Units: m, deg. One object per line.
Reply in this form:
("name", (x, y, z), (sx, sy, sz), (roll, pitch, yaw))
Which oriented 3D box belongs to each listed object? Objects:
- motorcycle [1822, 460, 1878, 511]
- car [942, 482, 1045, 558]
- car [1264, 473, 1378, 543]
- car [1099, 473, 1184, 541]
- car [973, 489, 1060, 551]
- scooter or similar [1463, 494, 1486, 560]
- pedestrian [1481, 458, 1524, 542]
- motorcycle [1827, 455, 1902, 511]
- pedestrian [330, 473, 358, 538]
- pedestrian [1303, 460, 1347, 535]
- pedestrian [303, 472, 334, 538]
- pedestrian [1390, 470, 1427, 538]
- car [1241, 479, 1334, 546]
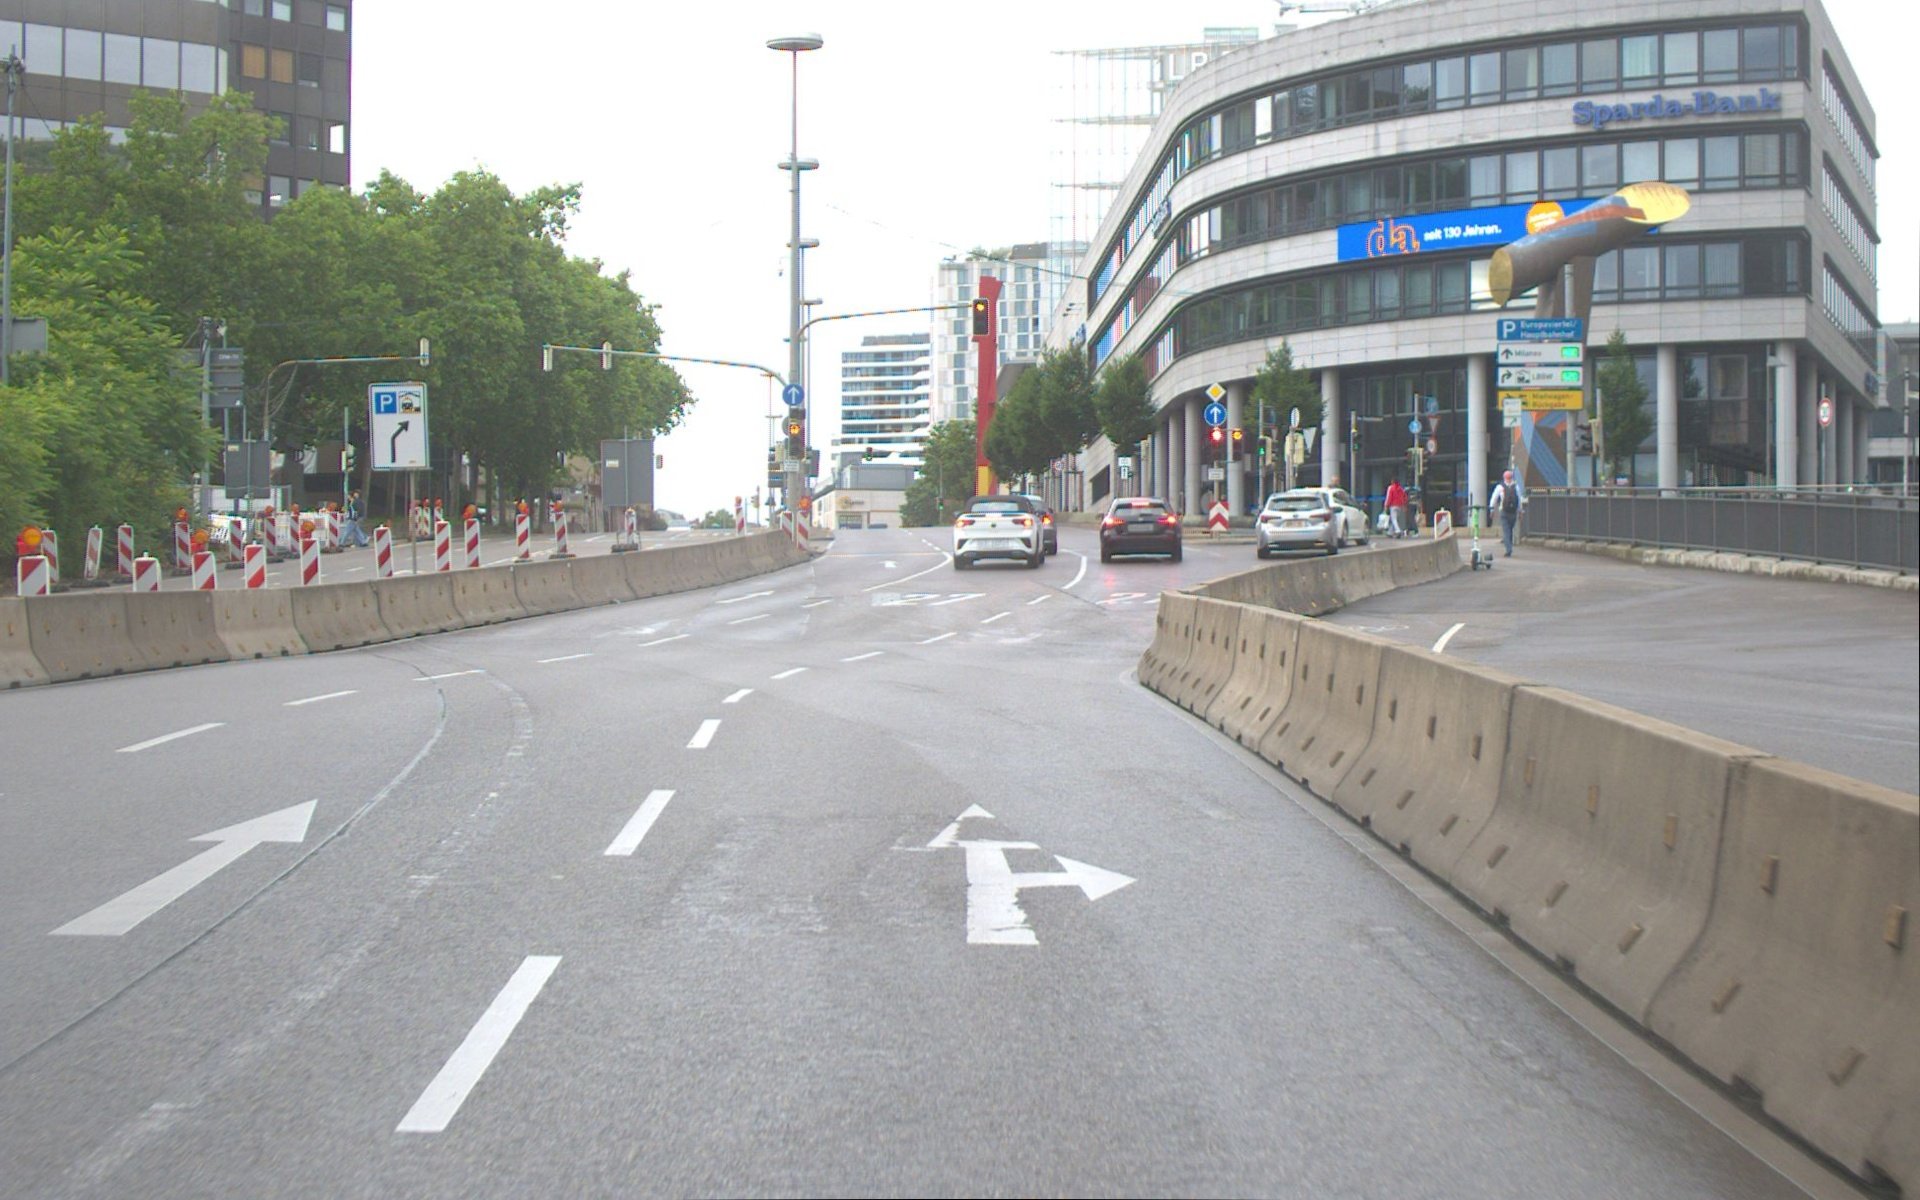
("motorcycle", (22.720, -2.930, 87.778), (1.240, 1.266, 0.620), (-2, 2, -8))
("car", (0.743, -1.733, 73.126), (1.964, 1.543, 4.219), (0, 2, 3))
("car", (8.815, -2.251, 83.588), (1.773, 1.628, 4.577), (0, 2, 19))
("car", (3.975, -2.031, 75.820), (1.755, 1.402, 4.227), (1, 1, 2))
("car", (1.326, -1.924, 81.781), (1.739, 1.438, 4.001), (0, 2, -4))
("scooter or similar", (9.210, -1.305, 61.544), (0.349, 1.158, 0.572), (0, 1, 14))
("pedestrian", (11.186, -2.053, 70.890), (0.729, 1.705, 0.843), (0, 0, -2))
("motorcycle", (22.894, -2.964, 87.057), (1.724, 1.349, 0.607), (-2, 2, -8))
("pedestrian", (-18.113, -2.782, 101.093), (0.672, 1.895, 0.775), (0, 0, 1))
("pedestrian", (10.391, -2.912, 97.802), (0.852, 2.091, 0.905), (1, 2, -24))
("pedestrian", (-18.871, -2.795, 101.204), (0.761, 1.916, 0.742), (0, 0, 1))
("pedestrian", (12.871, -2.753, 98.702), (0.841, 1.898, 0.860), (0, 0, 25))
("car", (7.306, -1.953, 76.958), (1.701, 1.446, 4.616), (0, 1, 1))
